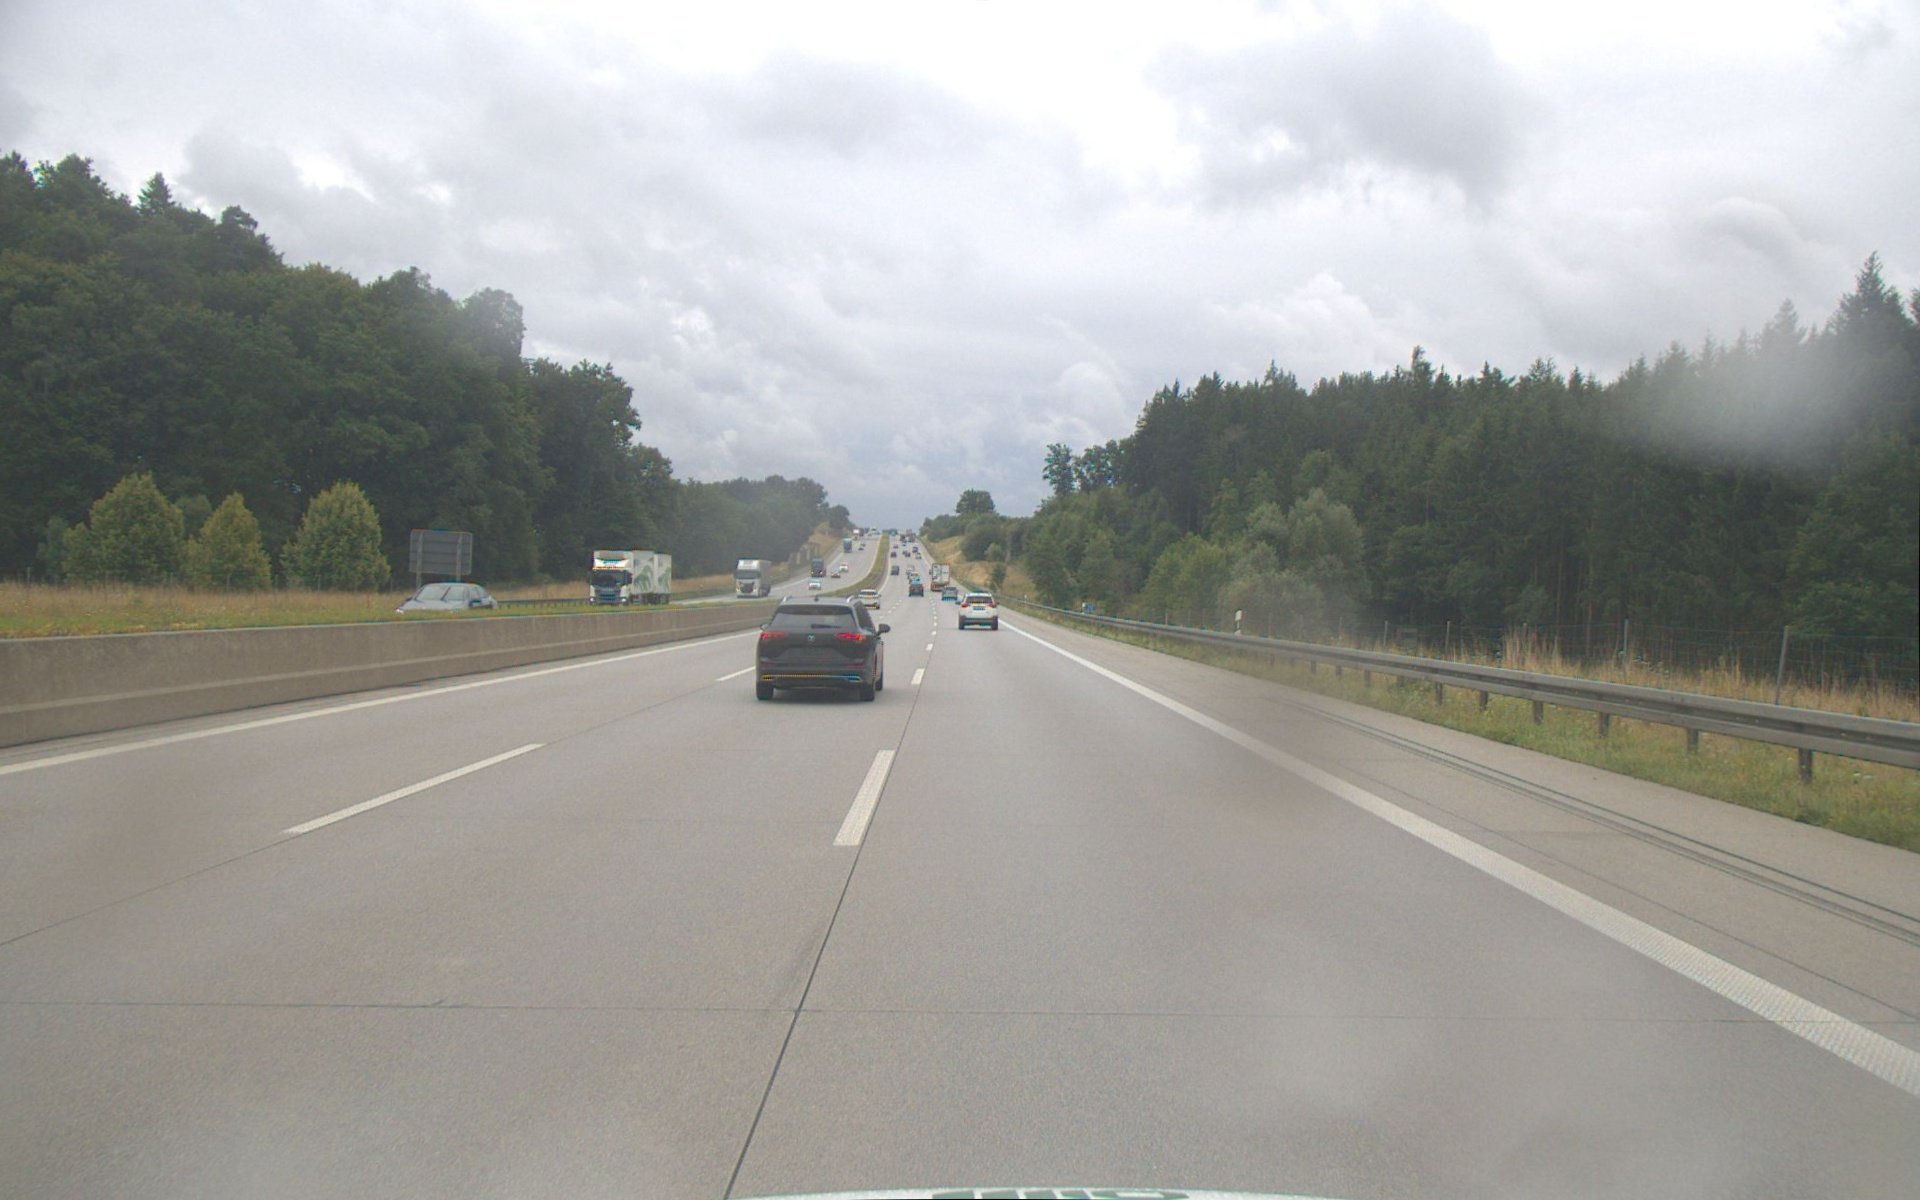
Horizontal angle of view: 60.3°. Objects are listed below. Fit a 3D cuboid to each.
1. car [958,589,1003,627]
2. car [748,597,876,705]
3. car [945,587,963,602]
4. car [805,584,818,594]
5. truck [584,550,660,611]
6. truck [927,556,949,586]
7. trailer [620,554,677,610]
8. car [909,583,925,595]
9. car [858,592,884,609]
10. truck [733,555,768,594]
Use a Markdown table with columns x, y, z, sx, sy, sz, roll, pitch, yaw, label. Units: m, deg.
| x | y | z | sx | sy | sz | roll | pitch | yaw | label |
| --- | --- | --- | --- | --- | --- | --- | --- | --- | --- |
| 0.911 | 0.356 | 76.498 | 1.789 | 1.684 | 3.982 | 1 | 0 | -4 | car |
| -2.122 | 0.694 | 24.687 | 1.717 | 1.422 | 4.481 | 1 | 0 | -3 | car |
| -0.643 | -0.641 | 187.148 | 1.953 | 1.556 | 4.000 | 3 | 1 | -1 | car |
| -21.919 | -1.632 | 243.912 | 1.747 | 1.494 | 4.370 | 0 | 1 | -2 | car |
| -22.579 | -1.239 | 111.098 | 2.755 | 3.838 | 11.349 | 1 | 0 | 0 | truck |
| -3.254 | -4.361 | 245.122 | 2.957 | 4.252 | 8.352 | 1 | 2 | -3 | truck |
| -22.651 | -1.317 | 120.645 | 2.761 | 3.849 | 7.715 | 1 | 1 | -1 | trailer |
| -5.405 | -1.449 | 207.804 | 1.896 | 1.399 | 4.594 | 1 | 1 | -1 | car |
| -7.255 | 0.057 | 135.258 | 1.907 | 1.379 | 4.259 | 1 | 0 | 0 | car |
| -23.459 | -2.854 | 185.323 | 3.148 | 4.128 | 7.164 | 1 | 1 | -2 | truck |
